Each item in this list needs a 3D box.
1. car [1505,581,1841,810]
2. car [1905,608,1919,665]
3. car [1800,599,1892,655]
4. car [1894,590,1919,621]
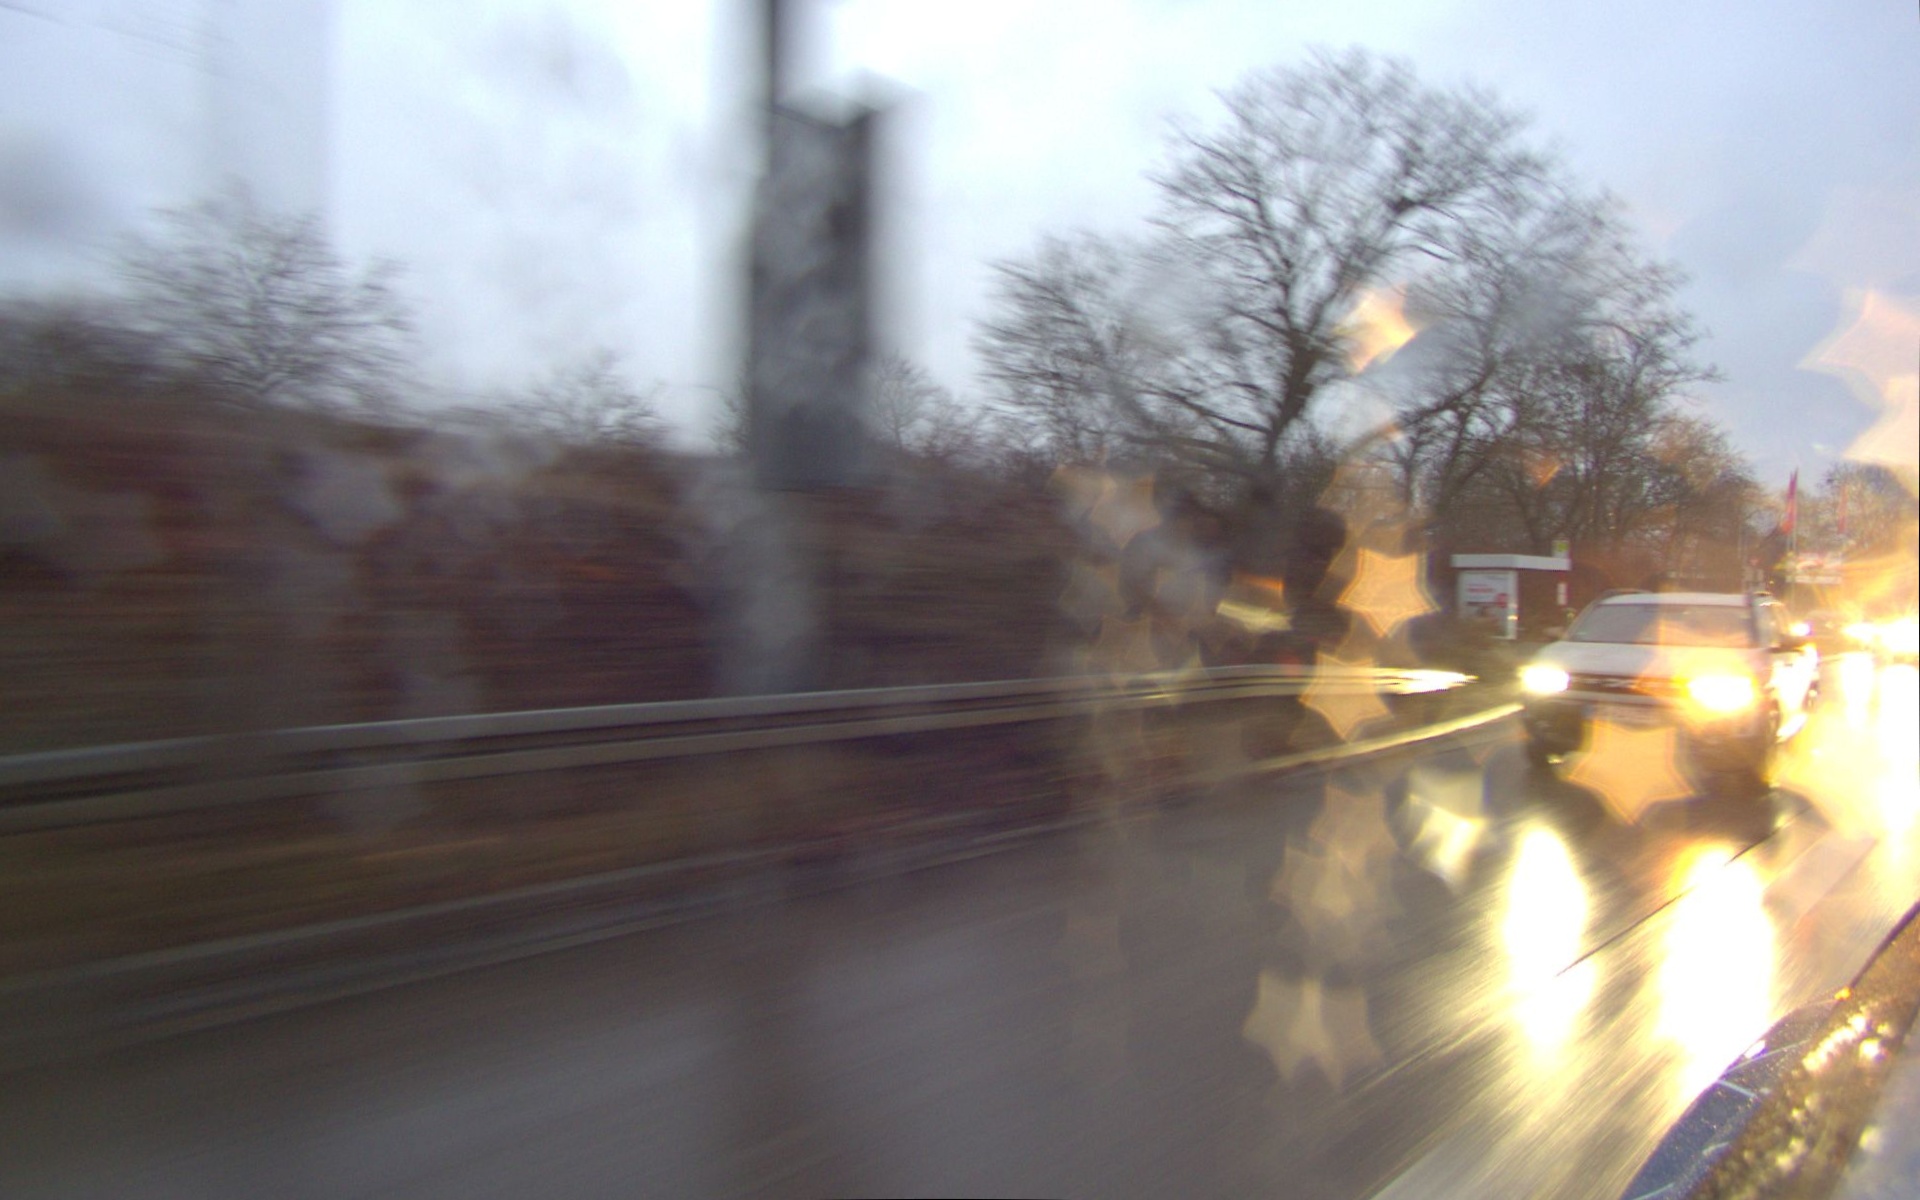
[{"bbox_3d":[6.842,0.661,9.514,4.338,1.638,1.817,-1,2,-44],"label":"car"},{"bbox_3d":[26.416,0.946,26.654,4.674,1.393,1.879,-1,2,-42],"label":"car"},{"bbox_3d":[29.980,0.843,34.191,4.473,1.639,1.969,-1,3,-44],"label":"car"},{"bbox_3d":[43.815,0.245,46.090,3.934,1.326,1.633,-1,2,-44],"label":"car"}]
